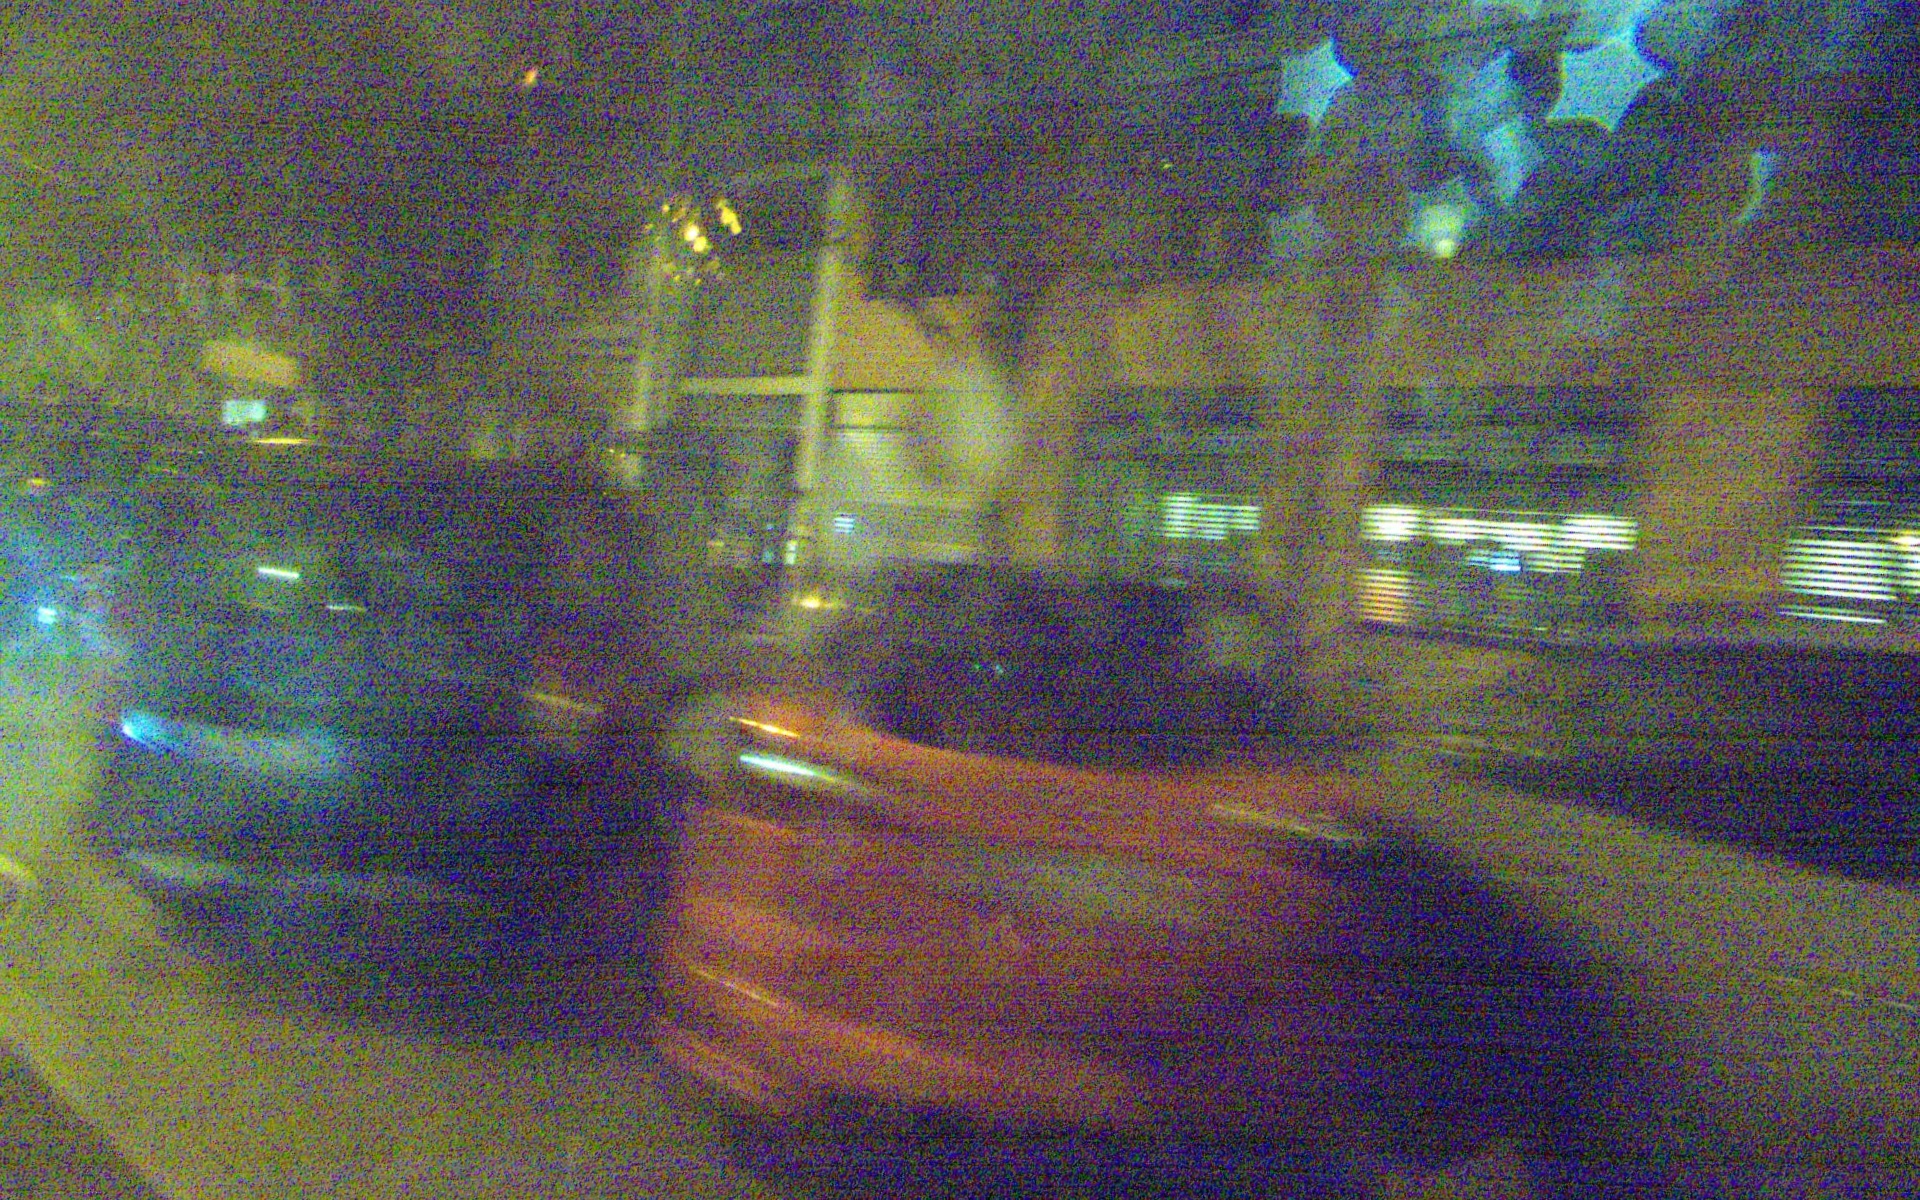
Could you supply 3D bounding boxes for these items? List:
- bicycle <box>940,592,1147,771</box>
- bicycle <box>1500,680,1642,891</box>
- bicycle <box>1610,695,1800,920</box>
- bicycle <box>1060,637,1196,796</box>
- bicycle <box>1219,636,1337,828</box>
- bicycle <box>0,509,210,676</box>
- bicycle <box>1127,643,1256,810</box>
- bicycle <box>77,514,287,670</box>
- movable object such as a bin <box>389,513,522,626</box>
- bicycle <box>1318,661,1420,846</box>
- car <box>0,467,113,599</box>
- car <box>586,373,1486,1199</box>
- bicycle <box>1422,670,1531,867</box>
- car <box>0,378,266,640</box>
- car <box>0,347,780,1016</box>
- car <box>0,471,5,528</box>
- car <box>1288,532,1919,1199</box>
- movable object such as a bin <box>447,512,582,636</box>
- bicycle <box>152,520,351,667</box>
[{"bbox_3d":[0.789,0.679,8.922,0.770,1.353,1.969,8,3,37],"label":"bicycle"},{"bbox_3d":[4.118,1.170,6.900,0.500,1.069,1.974,7,2,25],"label":"bicycle"},{"bbox_3d":[4.806,1.256,6.620,0.500,1.069,1.974,7,2,25],"label":"bicycle"},{"bbox_3d":[1.439,0.884,8.305,0.500,1.069,1.974,7,2,25],"label":"bicycle"},{"bbox_3d":[2.494,0.925,7.749,0.500,1.207,1.974,7,2,25],"label":"bicycle"},{"bbox_3d":[-7.426,-0.071,8.665,1.830,1.186,0.586,7,0,22],"label":"bicycle"},{"bbox_3d":[1.889,0.921,7.987,0.500,1.069,1.974,7,2,25],"label":"bicycle"},{"bbox_3d":[-7.171,-0.082,9.258,1.830,1.186,0.586,7,0,22],"label":"bicycle"},{"bbox_3d":[-6.840,-0.413,13.671,0.982,1.391,1.254,7,4,31],"label":"movable object such as a bin"},{"bbox_3d":[3.091,1.055,7.511,0.500,1.069,1.974,7,2,25],"label":"bicycle"},{"bbox_3d":[-12.129,-0.878,11.803,1.549,1.561,3.397,6,0,-4],"label":"car"},{"bbox_3d":[0.113,0.559,3.992,1.686,1.748,3.775,8,-1,-2],"label":"car"},{"bbox_3d":[3.654,1.116,7.225,0.500,1.069,1.974,7,2,25],"label":"bicycle"},{"bbox_3d":[-9.397,-0.897,9.930,1.912,2.276,4.721,6,0,-4],"label":"car"},{"bbox_3d":[-2.107,0.225,5.171,1.686,1.883,4.242,6,1,-4],"label":"car"},{"bbox_3d":[-14.382,-1.130,12.410,1.531,1.561,3.652,6,0,2],"label":"car"},{"bbox_3d":[2.349,0.883,2.415,1.709,1.749,3.803,8,0,1],"label":"car"},{"bbox_3d":[-5.792,-0.341,13.113,0.982,1.471,1.208,7,4,31],"label":"movable object such as a bin"},{"bbox_3d":[-6.942,-0.067,9.850,1.830,1.186,0.586,7,0,22],"label":"bicycle"}]
